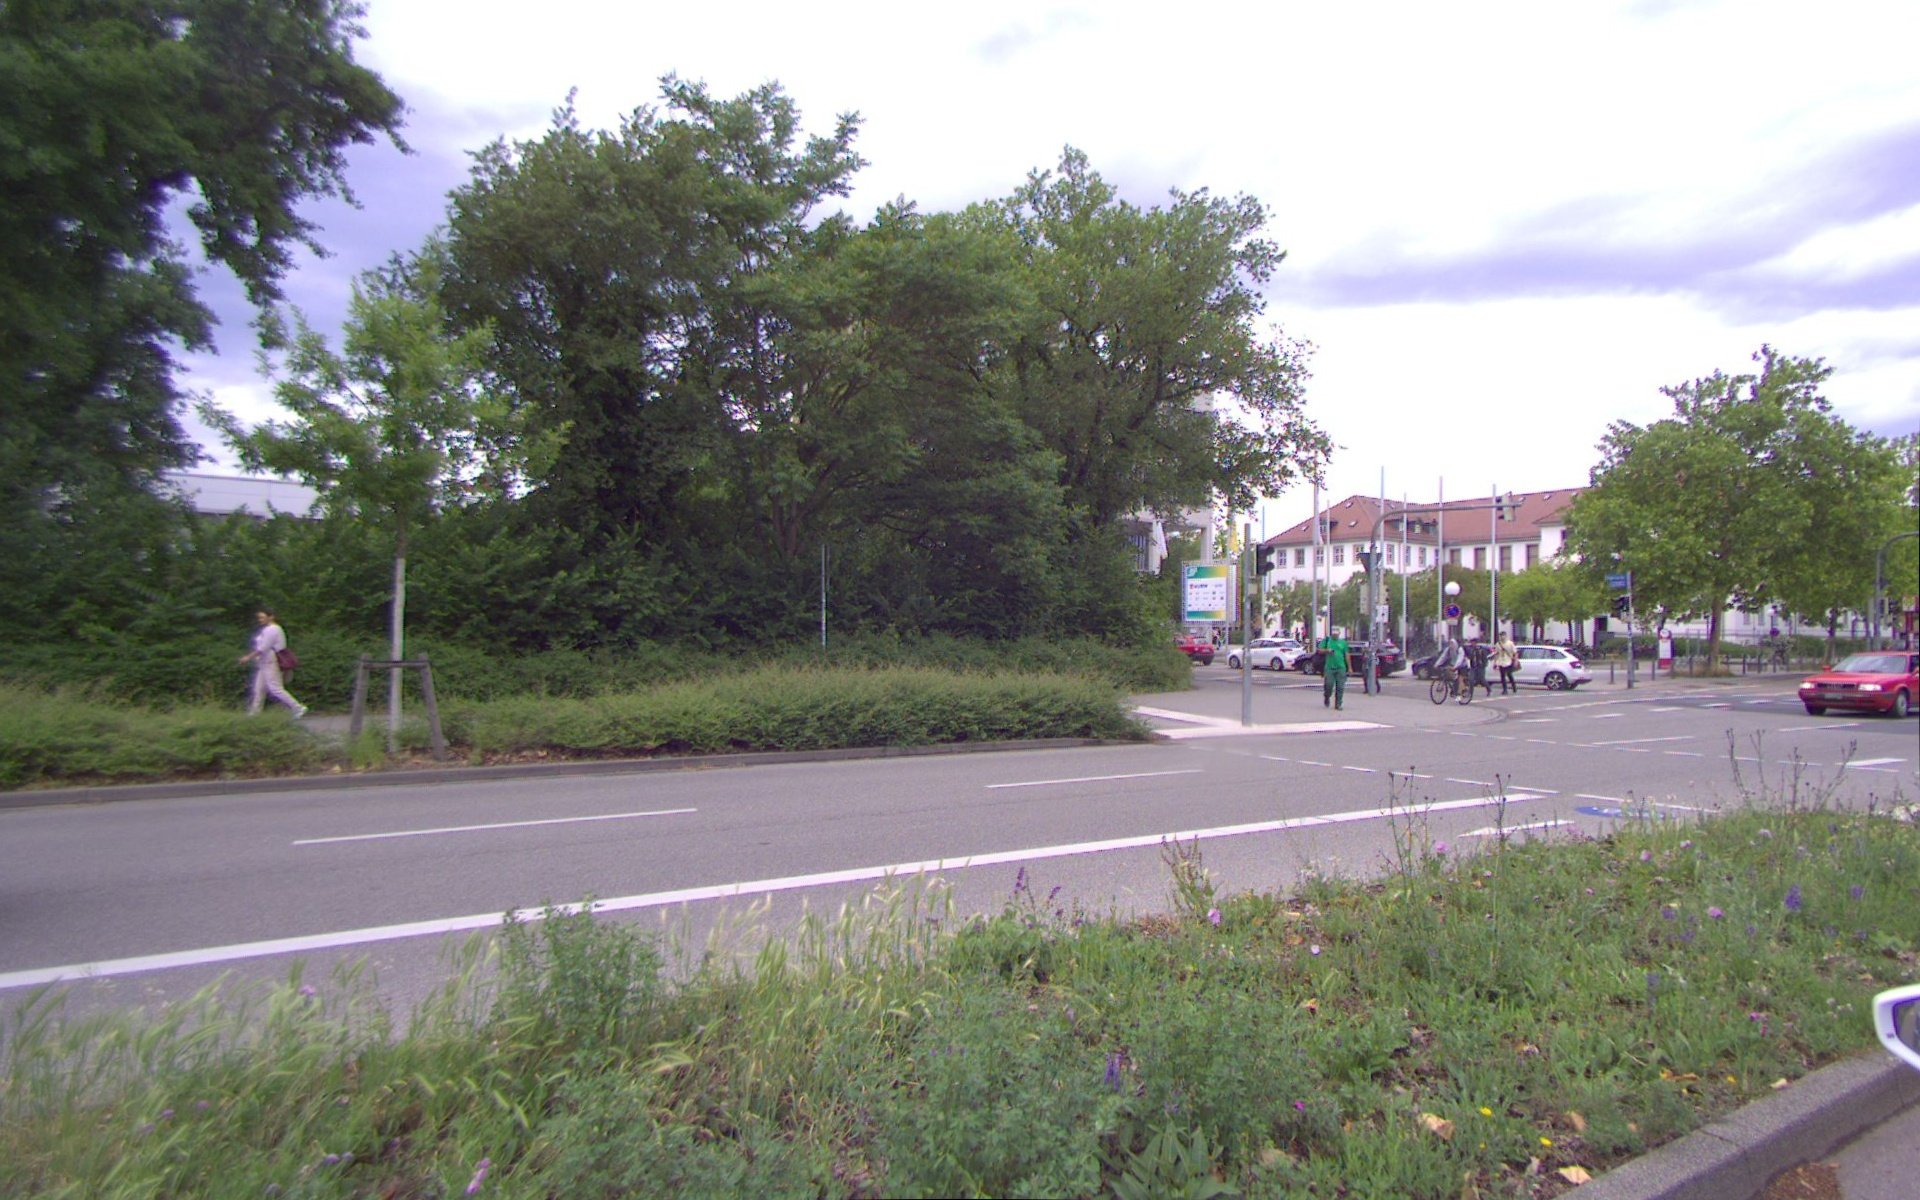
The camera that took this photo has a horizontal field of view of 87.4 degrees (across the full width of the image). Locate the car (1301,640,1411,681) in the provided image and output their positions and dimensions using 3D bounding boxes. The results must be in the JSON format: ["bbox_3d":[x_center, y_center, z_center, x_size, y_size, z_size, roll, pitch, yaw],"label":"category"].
[{"bbox_3d":[16.738,2.512,42.606,4.006,1.472,1.613,-2,3,43],"label":"car"}]

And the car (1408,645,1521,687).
[{"bbox_3d":[19.677,2.544,39.284,1.548,1.240,3.630,-7,4,-35],"label":"car"}]

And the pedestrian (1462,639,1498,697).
[{"bbox_3d":[14.729,1.938,28.459,0.776,1.578,0.700,2,-4,16],"label":"pedestrian"}]

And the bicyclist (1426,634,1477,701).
[{"bbox_3d":[12.495,1.712,25.528,0.947,1.657,0.665,2,-1,-22],"label":"bicyclist"}]

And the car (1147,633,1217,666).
[{"bbox_3d":[11.404,2.511,51.652,1.547,1.499,3.322,1,0,-36],"label":"car"}]

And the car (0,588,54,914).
[{"bbox_3d":[-6.745,0.715,3.945,4.347,1.686,1.912,2,-4,-30],"label":"car"}]

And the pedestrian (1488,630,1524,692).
[{"bbox_3d":[16.129,1.802,29.683,0.829,1.761,0.828,0,-6,36],"label":"pedestrian"}]

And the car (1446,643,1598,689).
[{"bbox_3d":[18.919,2.196,33.933,4.171,1.450,1.700,-3,-4,45],"label":"car"}]

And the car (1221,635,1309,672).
[{"bbox_3d":[14.391,2.485,47.587,1.667,1.560,3.857,-1,0,-32],"label":"car"}]

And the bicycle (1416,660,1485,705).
[{"bbox_3d":[12.462,2.086,25.525,1.596,1.076,0.665,2,-1,-22],"label":"bicycle"}]

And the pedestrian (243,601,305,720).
[{"bbox_3d":[-9.861,0.865,14.456,0.663,1.657,0.697,1,-3,-30],"label":"pedestrian"}]

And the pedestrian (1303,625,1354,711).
[{"bbox_3d":[7.968,1.440,21.746,0.924,1.782,0.876,2,-1,16],"label":"pedestrian"}]

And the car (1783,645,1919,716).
[{"bbox_3d":[20.557,1.732,22.482,4.238,1.437,1.708,1,-2,-27],"label":"car"}]

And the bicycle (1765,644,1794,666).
[{"bbox_3d":[41.012,2.738,50.256,2.025,1.074,0.603,1,-3,-37],"label":"bicycle"}]

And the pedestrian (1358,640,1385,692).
[{"bbox_3d":[12.729,2.040,31.083,0.563,1.545,0.846,0,-6,36],"label":"pedestrian"}]
